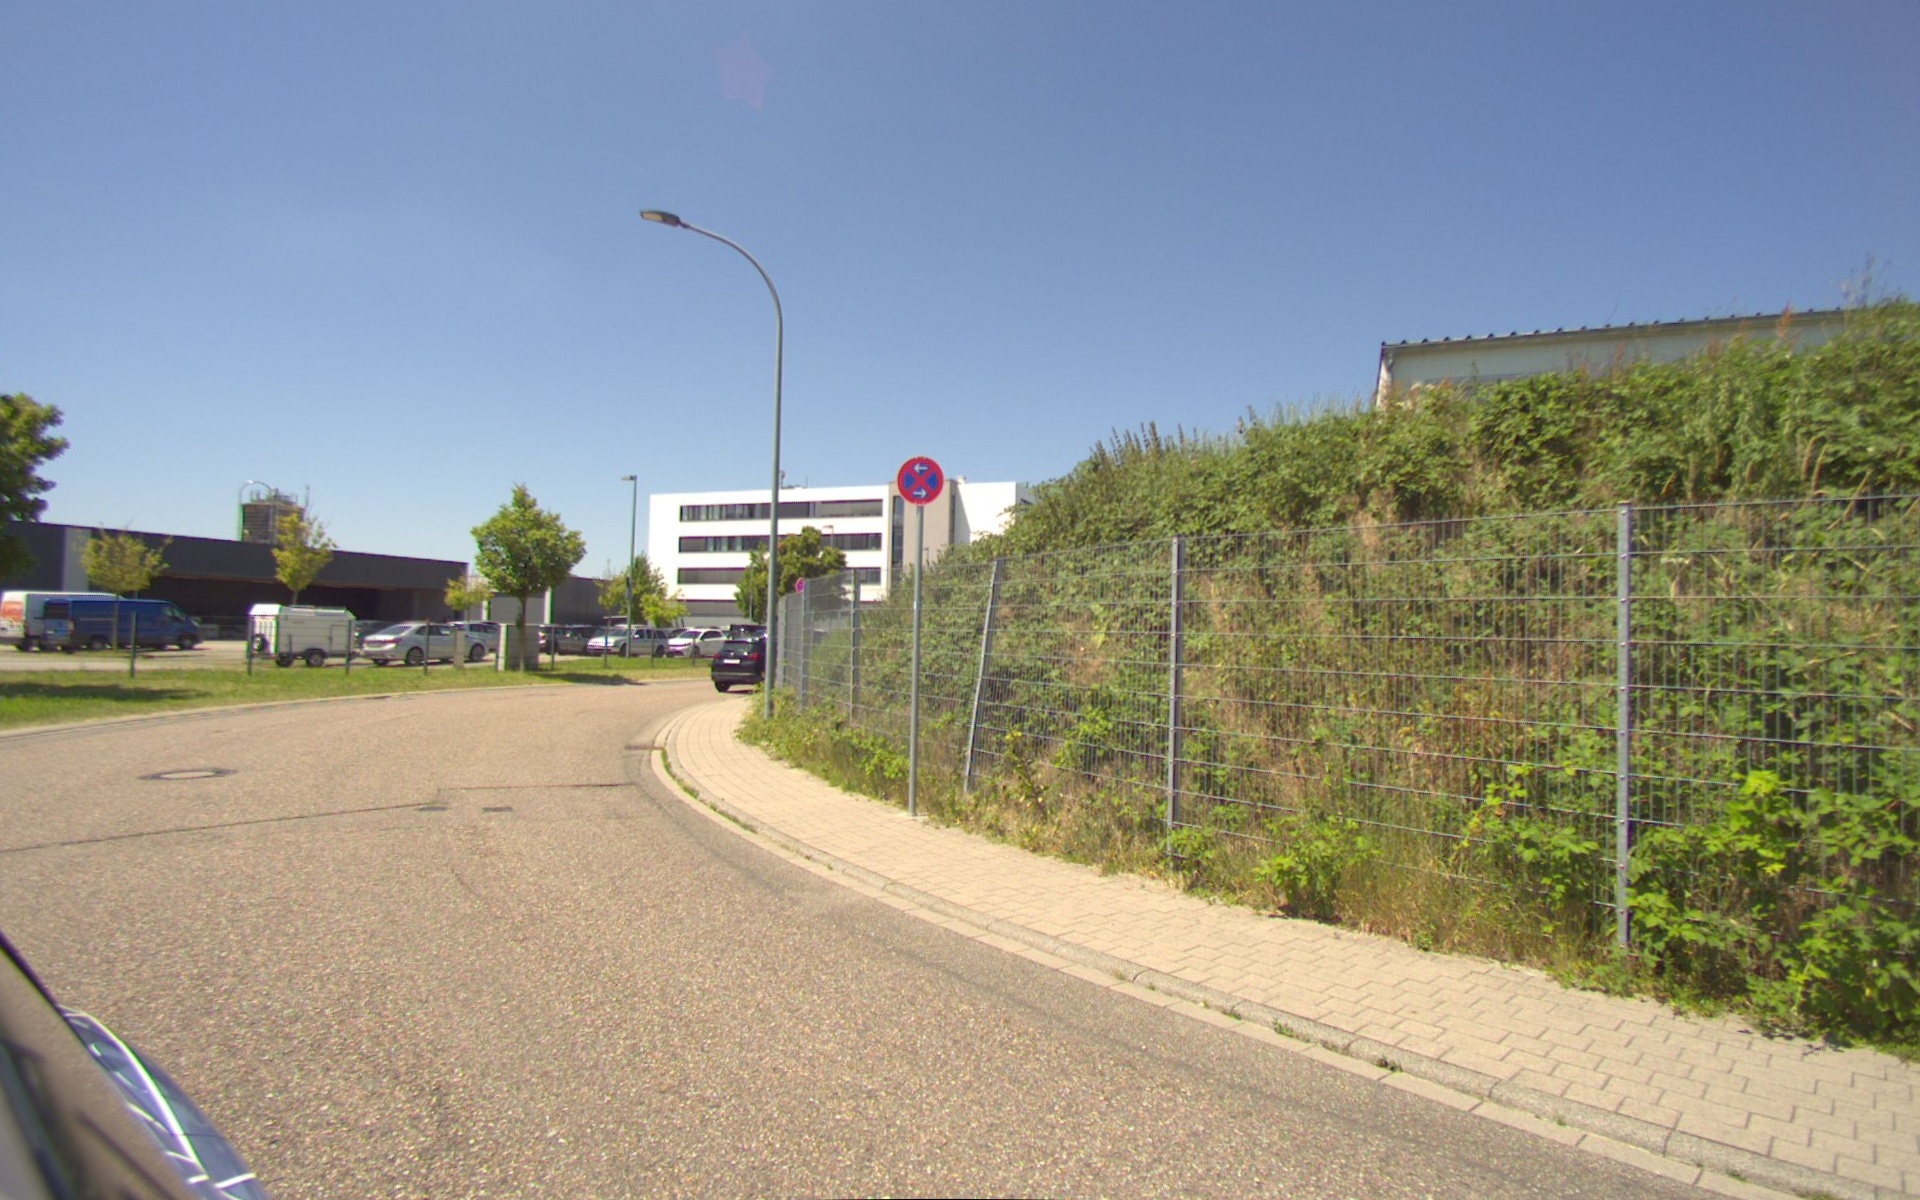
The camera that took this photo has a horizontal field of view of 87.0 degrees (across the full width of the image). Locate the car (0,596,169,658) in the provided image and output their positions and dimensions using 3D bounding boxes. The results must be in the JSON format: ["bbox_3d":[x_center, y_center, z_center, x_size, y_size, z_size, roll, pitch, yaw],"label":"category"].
[{"bbox_3d":[-37.774,1.066,43.539,2.180,2.476,5.641,-1,0,20],"label":"car"}]

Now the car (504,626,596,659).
[{"bbox_3d":[-19.580,2.039,48.489,1.843,1.510,3.894,0,-3,23],"label":"car"}]

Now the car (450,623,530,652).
[{"bbox_3d":[-26.745,2.163,57.708,1.843,1.510,3.894,1,-4,23],"label":"car"}]

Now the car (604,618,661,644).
[{"bbox_3d":[-23.608,2.253,73.091,1.821,1.549,3.892,-3,-6,24],"label":"car"}]

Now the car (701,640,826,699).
[{"bbox_3d":[-5.602,1.964,29.411,1.647,1.567,4.103,0,-3,21],"label":"car"}]

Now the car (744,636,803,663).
[{"bbox_3d":[-11.576,3.110,63.101,1.820,1.466,3.895,-2,-6,22],"label":"car"}]

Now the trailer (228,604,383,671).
[{"bbox_3d":[-20.809,1.254,32.359,1.843,2.014,3.710,-1,-4,22],"label":"trailer"}]

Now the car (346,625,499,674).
[{"bbox_3d":[-19.172,1.704,36.350,1.843,1.510,4.820,-1,0,22],"label":"car"}]

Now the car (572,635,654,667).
[{"bbox_3d":[-18.125,2.710,53.046,1.844,1.510,3.893,1,-4,24],"label":"car"}]

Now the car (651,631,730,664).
[{"bbox_3d":[-13.596,2.380,51.271,1.843,1.510,3.894,0,0,23],"label":"car"}]

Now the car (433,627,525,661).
[{"bbox_3d":[-24.139,2.239,50.904,1.843,1.510,3.894,1,-4,23],"label":"car"}]

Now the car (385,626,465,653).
[{"bbox_3d":[-31.678,2.338,60.003,1.843,1.510,3.894,0,-3,23],"label":"car"}]

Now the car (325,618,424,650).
[{"bbox_3d":[-30.995,1.821,53.692,1.955,1.644,4.219,0,-3,23],"label":"car"}]

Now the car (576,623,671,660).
[{"bbox_3d":[-15.307,1.921,46.227,1.841,1.510,4.260,-1,-5,20],"label":"car"}]

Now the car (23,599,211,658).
[{"bbox_3d":[-35.279,1.130,42.620,2.128,2.241,5.794,-2,-1,20],"label":"car"}]

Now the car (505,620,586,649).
[{"bbox_3d":[-22.386,1.885,54.821,1.843,1.510,3.894,0,-3,23],"label":"car"}]
